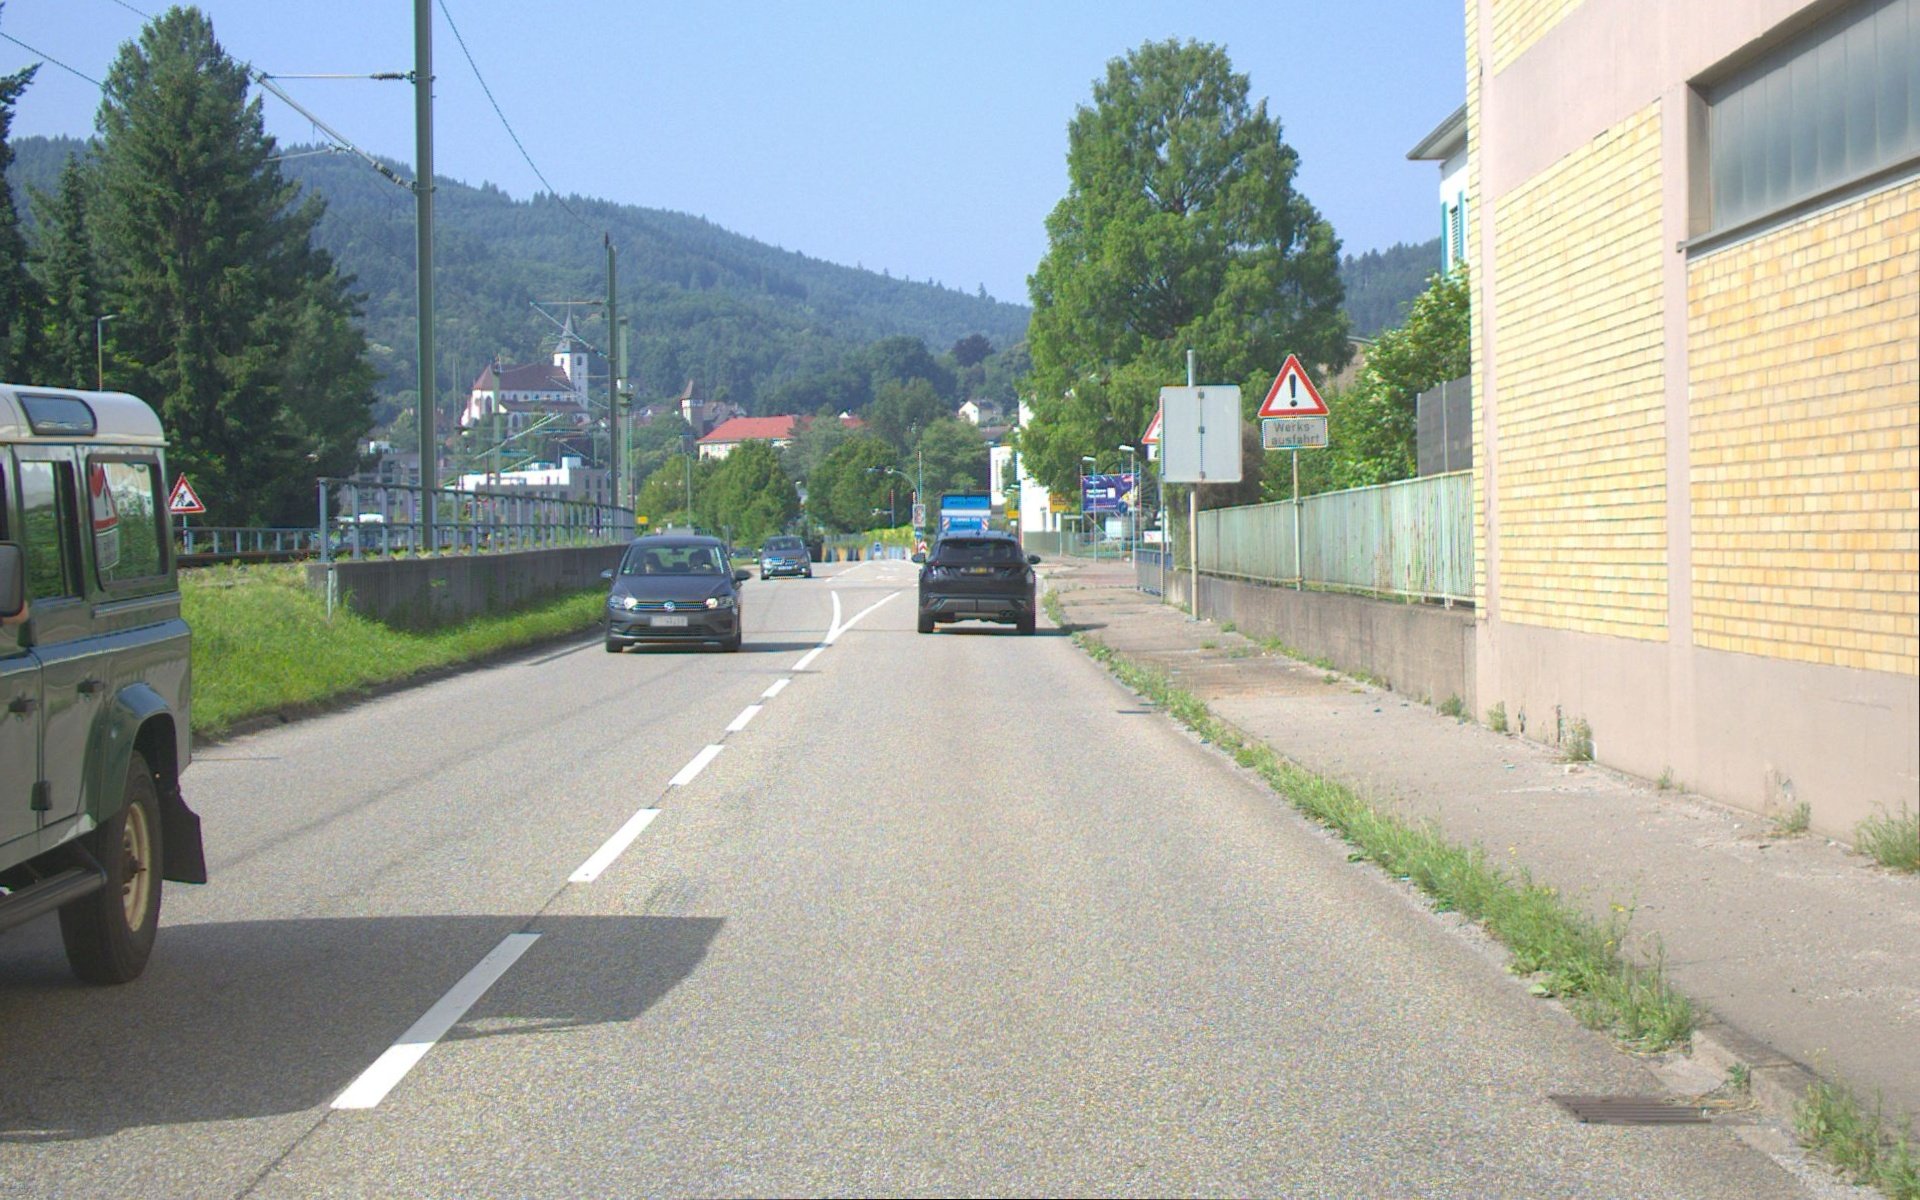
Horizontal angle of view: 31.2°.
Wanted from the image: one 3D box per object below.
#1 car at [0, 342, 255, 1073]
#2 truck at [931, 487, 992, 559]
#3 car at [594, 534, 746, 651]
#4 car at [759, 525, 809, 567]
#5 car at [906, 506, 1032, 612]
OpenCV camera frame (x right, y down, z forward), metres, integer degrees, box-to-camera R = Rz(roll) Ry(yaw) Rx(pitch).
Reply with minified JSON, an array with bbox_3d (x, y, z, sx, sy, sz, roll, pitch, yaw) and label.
[{"bbox_3d":[-3.583,0.280,10.627,1.758,2.071,4.808,1,1,1],"label":"car"},{"bbox_3d":[0.034,-3.287,146.679,2.312,2.960,5.966,-1,1,-3],"label":"truck"},{"bbox_3d":[-3.899,-0.135,46.753,1.731,1.521,4.092,0,1,0],"label":"car"},{"bbox_3d":[-6.361,-1.962,124.583,1.741,1.502,4.200,0,1,-2],"label":"car"},{"bbox_3d":[0.183,-0.680,55.555,1.919,1.634,4.000,0,1,2],"label":"car"}]
